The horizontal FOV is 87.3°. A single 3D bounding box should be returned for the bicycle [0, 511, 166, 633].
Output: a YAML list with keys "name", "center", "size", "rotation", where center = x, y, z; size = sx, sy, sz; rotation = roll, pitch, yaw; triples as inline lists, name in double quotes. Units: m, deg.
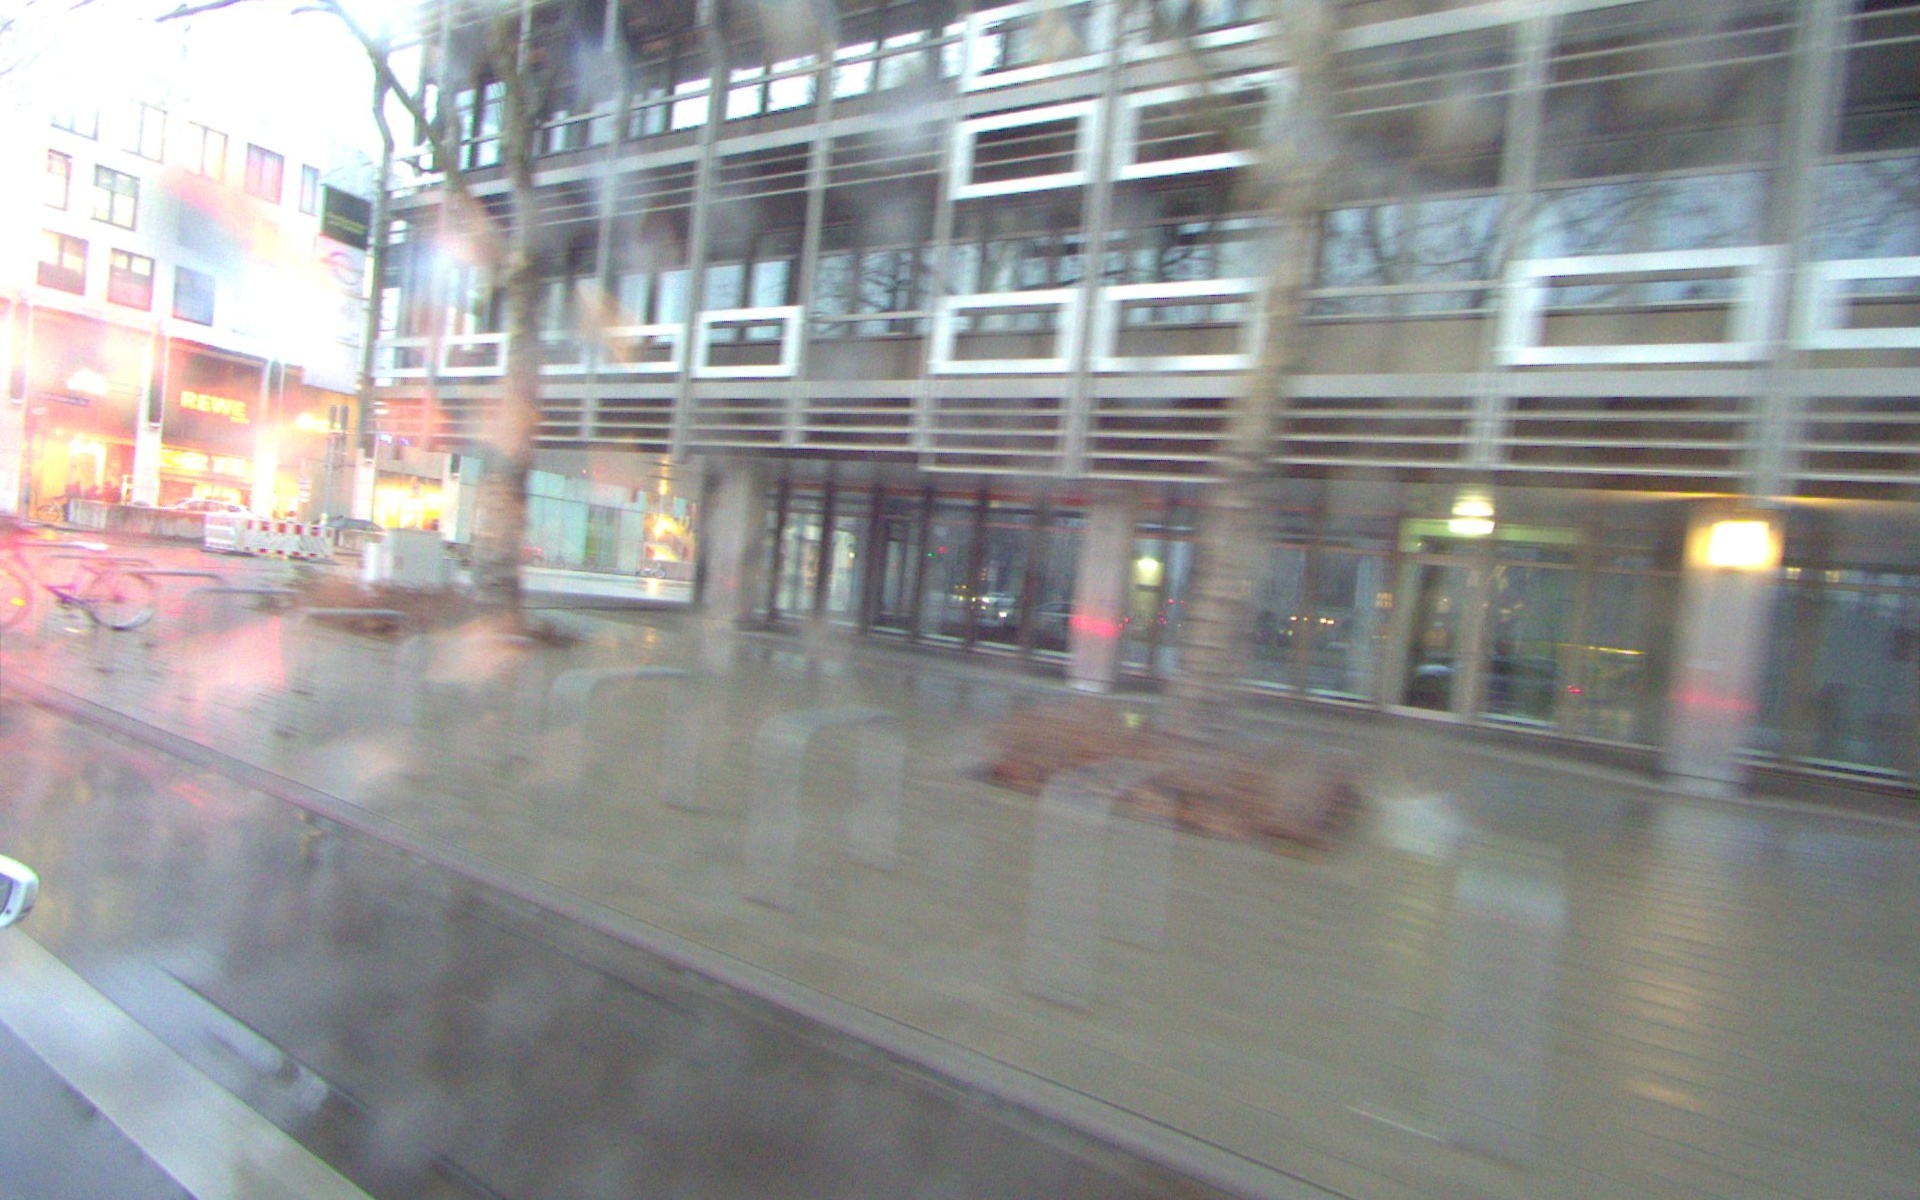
- name: "bicycle"
  center: [-9.232, -0.275, 10.229]
  size: [0.428, 1.164, 1.751]
  rotation: [7, 3, 28]

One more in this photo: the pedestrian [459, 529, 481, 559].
- name: "pedestrian"
  center: [-29.378, -3.346, 60.285]
  size: [0.698, 1.651, 0.795]
  rotation: [6, 0, 33]

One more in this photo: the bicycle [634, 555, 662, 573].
- name: "bicycle"
  center: [-21.739, -2.501, 70.148]
  size: [2.102, 1.046, 0.615]
  rotation: [7, 2, 35]

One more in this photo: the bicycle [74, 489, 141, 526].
- name: "bicycle"
  center: [-31.971, -3.455, 37.749]
  size: [1.838, 1.107, 0.610]
  rotation: [6, 1, -42]

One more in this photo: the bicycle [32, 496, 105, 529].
- name: "bicycle"
  center: [-37.017, -3.627, 41.802]
  size: [0.533, 1.003, 2.131]
  rotation: [6, -1, 32]

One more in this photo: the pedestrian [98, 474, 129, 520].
- name: "pedestrian"
  center: [-31.819, -3.864, 37.822]
  size: [0.777, 1.616, 0.606]
  rotation: [5, 2, -42]

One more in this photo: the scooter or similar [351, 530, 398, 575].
- name: "scooter or similar"
  center: [-16.598, -1.356, 28.496]
  size: [1.215, 1.145, 0.605]
  rotation: [7, 2, 33]

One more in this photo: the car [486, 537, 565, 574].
- name: "car"
  center: [-23.770, -2.432, 55.138]
  size: [1.649, 1.602, 3.572]
  rotation: [6, 1, 31]

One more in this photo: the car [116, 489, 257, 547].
- name: "car"
  center: [-32.284, -3.397, 42.097]
  size: [1.680, 1.784, 4.301]
  rotation: [7, 1, 36]

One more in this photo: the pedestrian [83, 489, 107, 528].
- name: "pedestrian"
  center: [-39.115, -4.130, 45.497]
  size: [0.529, 1.707, 0.546]
  rotation: [5, 2, -19]

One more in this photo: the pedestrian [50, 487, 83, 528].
- name: "pedestrian"
  center: [-37.053, -3.822, 41.729]
  size: [0.527, 1.590, 0.815]
  rotation: [7, 2, 33]

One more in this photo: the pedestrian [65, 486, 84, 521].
- name: "pedestrian"
  center: [-46.842, -5.086, 53.222]
  size: [0.529, 1.740, 0.500]
  rotation: [5, 2, -19]
